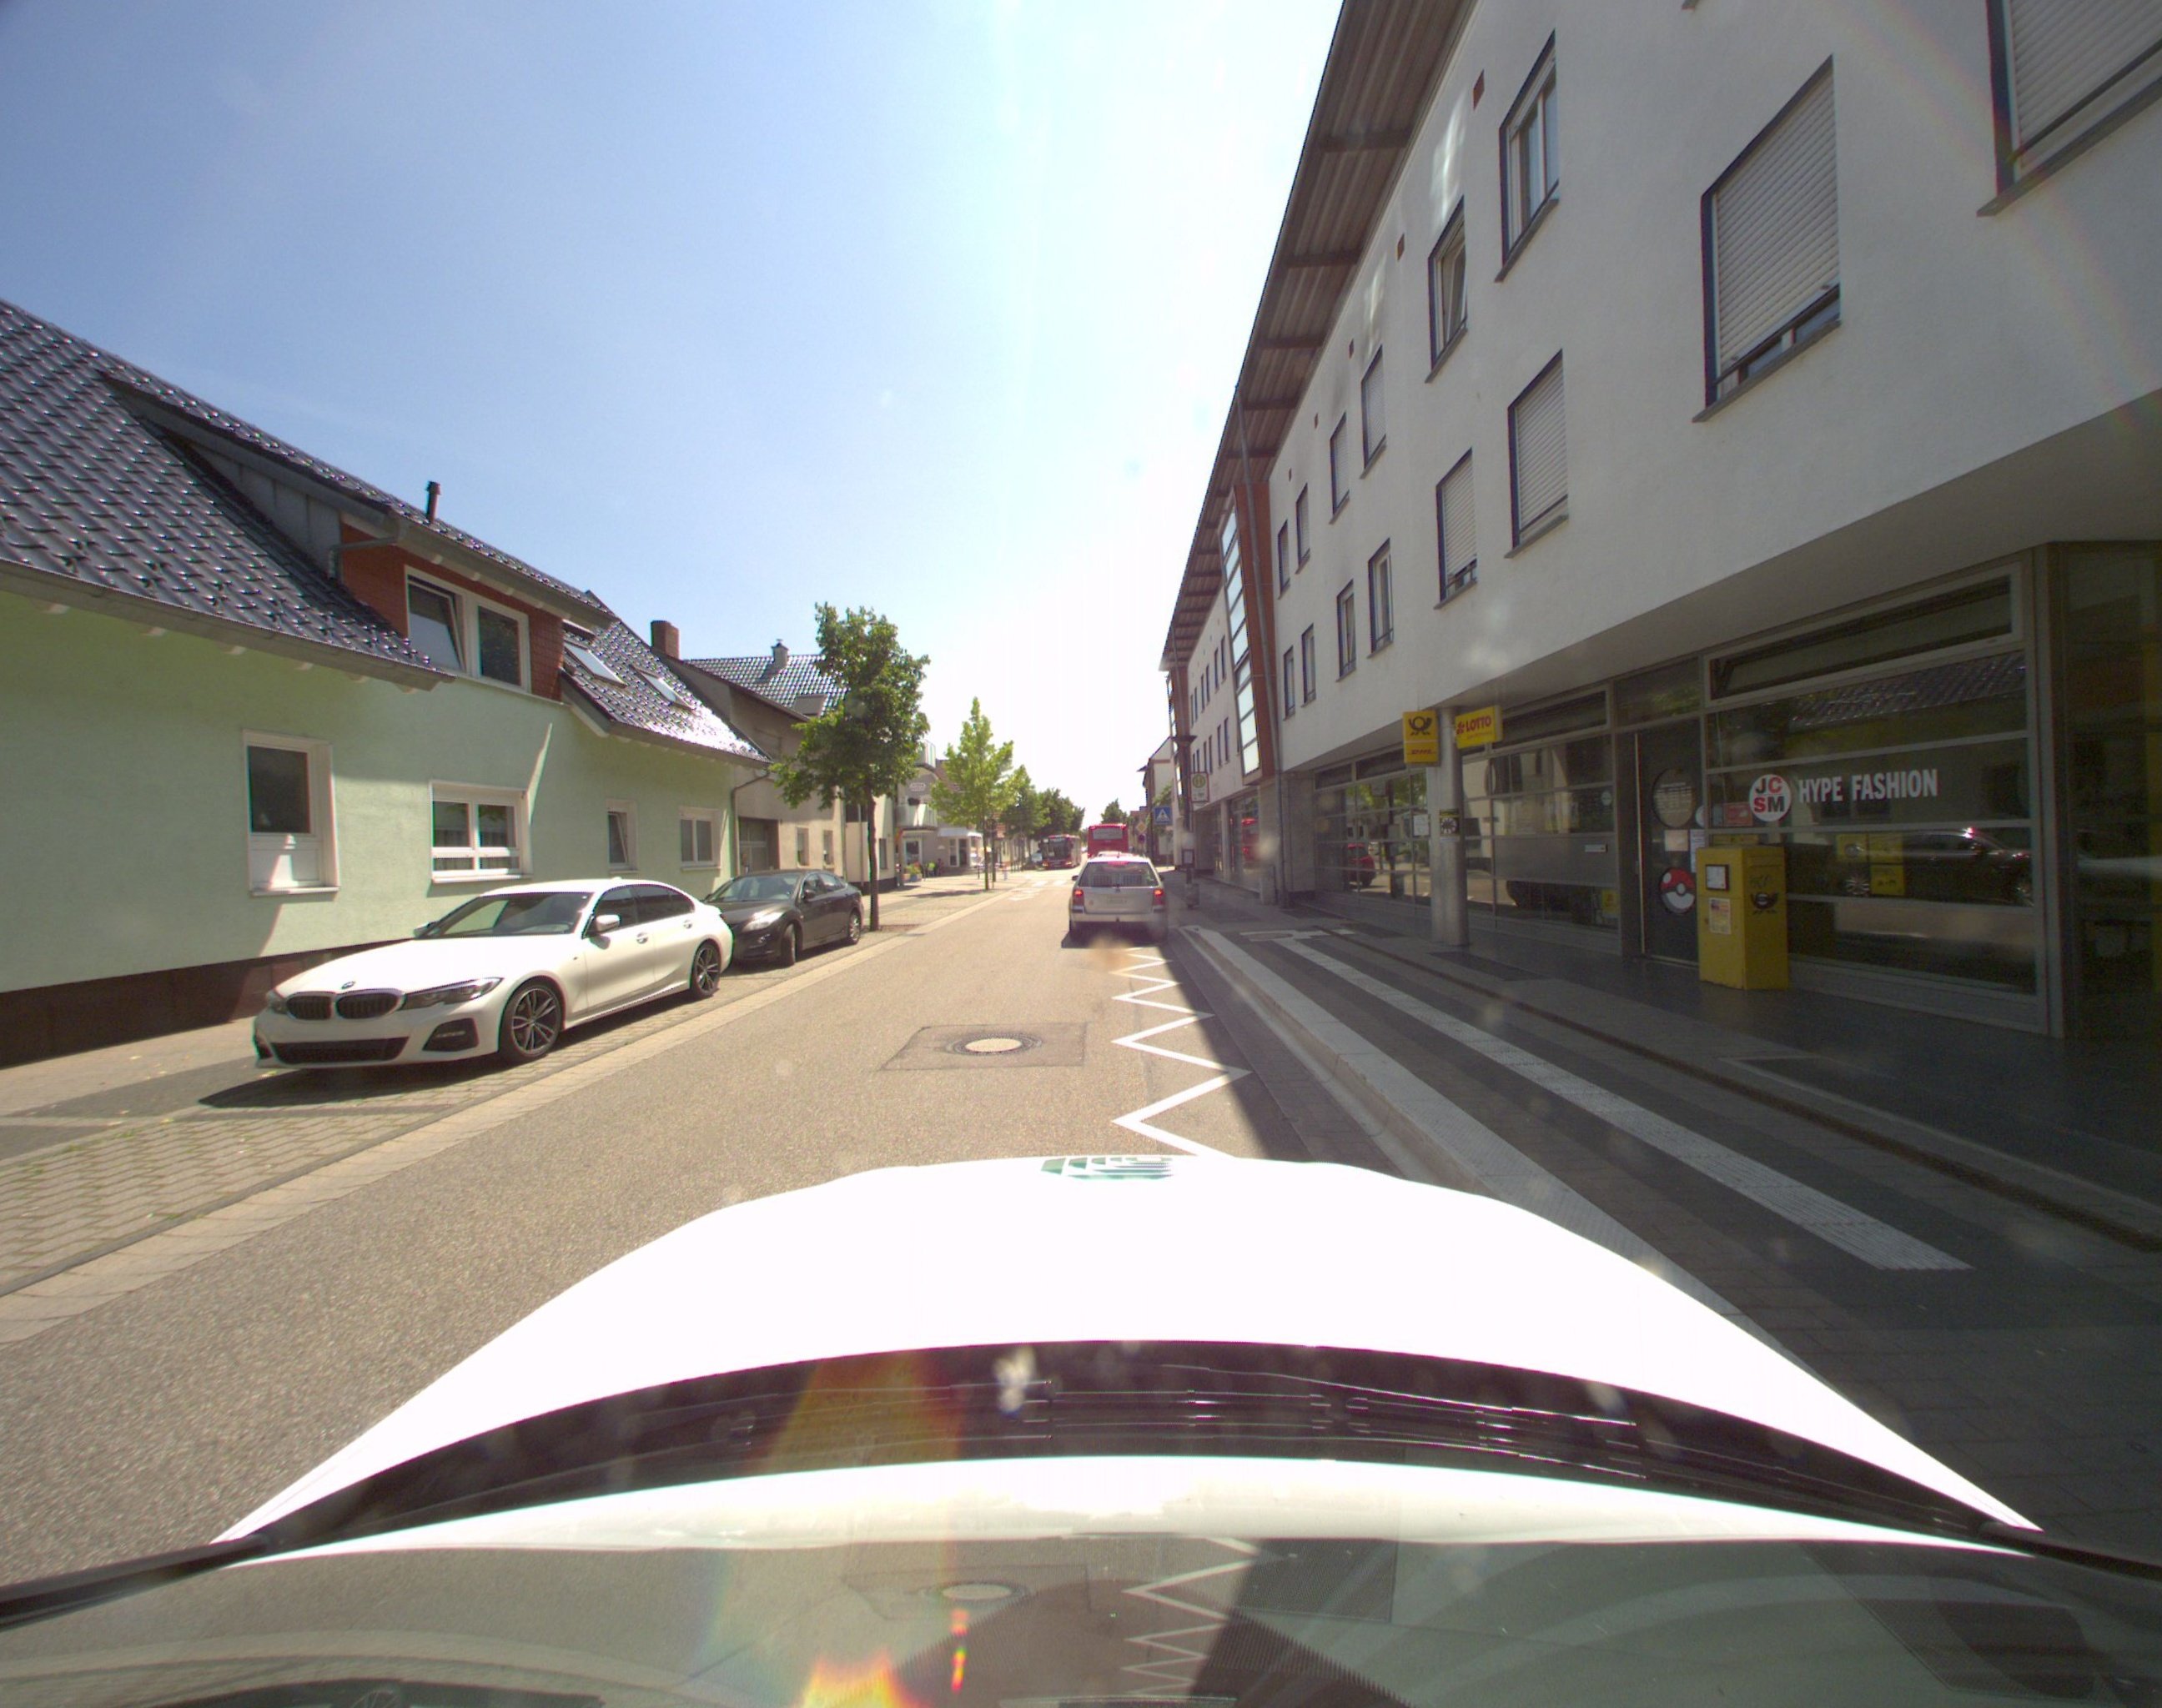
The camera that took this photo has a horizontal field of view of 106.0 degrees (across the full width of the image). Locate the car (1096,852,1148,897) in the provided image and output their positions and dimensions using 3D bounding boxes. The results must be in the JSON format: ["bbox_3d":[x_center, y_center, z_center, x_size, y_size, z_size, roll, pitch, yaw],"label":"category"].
[{"bbox_3d":[1.377,0.650,28.353,1.671,1.430,3.680,-1,0,1],"label":"car"}]

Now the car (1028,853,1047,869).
[{"bbox_3d":[-4.363,0.691,82.459,1.599,1.438,4.066,-2,0,1],"label":"car"}]

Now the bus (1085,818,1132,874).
[{"bbox_3d":[1.682,-0.455,55.179,2.731,3.298,12.703,-2,0,0],"label":"bus"}]

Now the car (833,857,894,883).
[{"bbox_3d":[-14.829,1.081,55.593,3.923,1.545,1.510,-2,2,-16],"label":"car"}]

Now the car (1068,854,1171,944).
[{"bbox_3d":[0.680,0.728,15.103,1.671,1.430,3.680,1,0,1],"label":"car"}]

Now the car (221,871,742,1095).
[{"bbox_3d":[-5.199,0.968,8.027,1.714,1.437,4.461,-2,0,1],"label":"car"}]

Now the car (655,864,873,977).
[{"bbox_3d":[-5.006,0.960,13.639,1.654,1.436,4.541,-2,0,2],"label":"car"}]

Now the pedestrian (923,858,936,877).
[{"bbox_3d":[-10.759,0.952,57.851,0.639,1.289,0.780,0,0,-42],"label":"pedestrian"}]

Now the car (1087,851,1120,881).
[{"bbox_3d":[1.194,0.576,41.738,1.587,1.430,3.682,-1,0,2],"label":"car"}]

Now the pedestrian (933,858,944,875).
[{"bbox_3d":[-10.312,0.921,58.978,0.620,1.179,0.696,-2,0,-3],"label":"pedestrian"}]

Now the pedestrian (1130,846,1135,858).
[{"bbox_3d":[7.163,-0.232,113.208,0.604,1.667,0.789,-2,0,0],"label":"pedestrian"}]

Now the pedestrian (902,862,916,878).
[{"bbox_3d":[-12.047,1.141,57.104,0.639,1.116,0.780,0,0,-42],"label":"pedestrian"}]

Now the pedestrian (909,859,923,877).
[{"bbox_3d":[-11.752,1.009,58.084,0.639,1.289,0.780,0,0,-42],"label":"pedestrian"}]

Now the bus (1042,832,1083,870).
[{"bbox_3d":[-1.554,-0.320,78.058,2.658,3.123,17.820,-1,0,3],"label":"bus"}]
